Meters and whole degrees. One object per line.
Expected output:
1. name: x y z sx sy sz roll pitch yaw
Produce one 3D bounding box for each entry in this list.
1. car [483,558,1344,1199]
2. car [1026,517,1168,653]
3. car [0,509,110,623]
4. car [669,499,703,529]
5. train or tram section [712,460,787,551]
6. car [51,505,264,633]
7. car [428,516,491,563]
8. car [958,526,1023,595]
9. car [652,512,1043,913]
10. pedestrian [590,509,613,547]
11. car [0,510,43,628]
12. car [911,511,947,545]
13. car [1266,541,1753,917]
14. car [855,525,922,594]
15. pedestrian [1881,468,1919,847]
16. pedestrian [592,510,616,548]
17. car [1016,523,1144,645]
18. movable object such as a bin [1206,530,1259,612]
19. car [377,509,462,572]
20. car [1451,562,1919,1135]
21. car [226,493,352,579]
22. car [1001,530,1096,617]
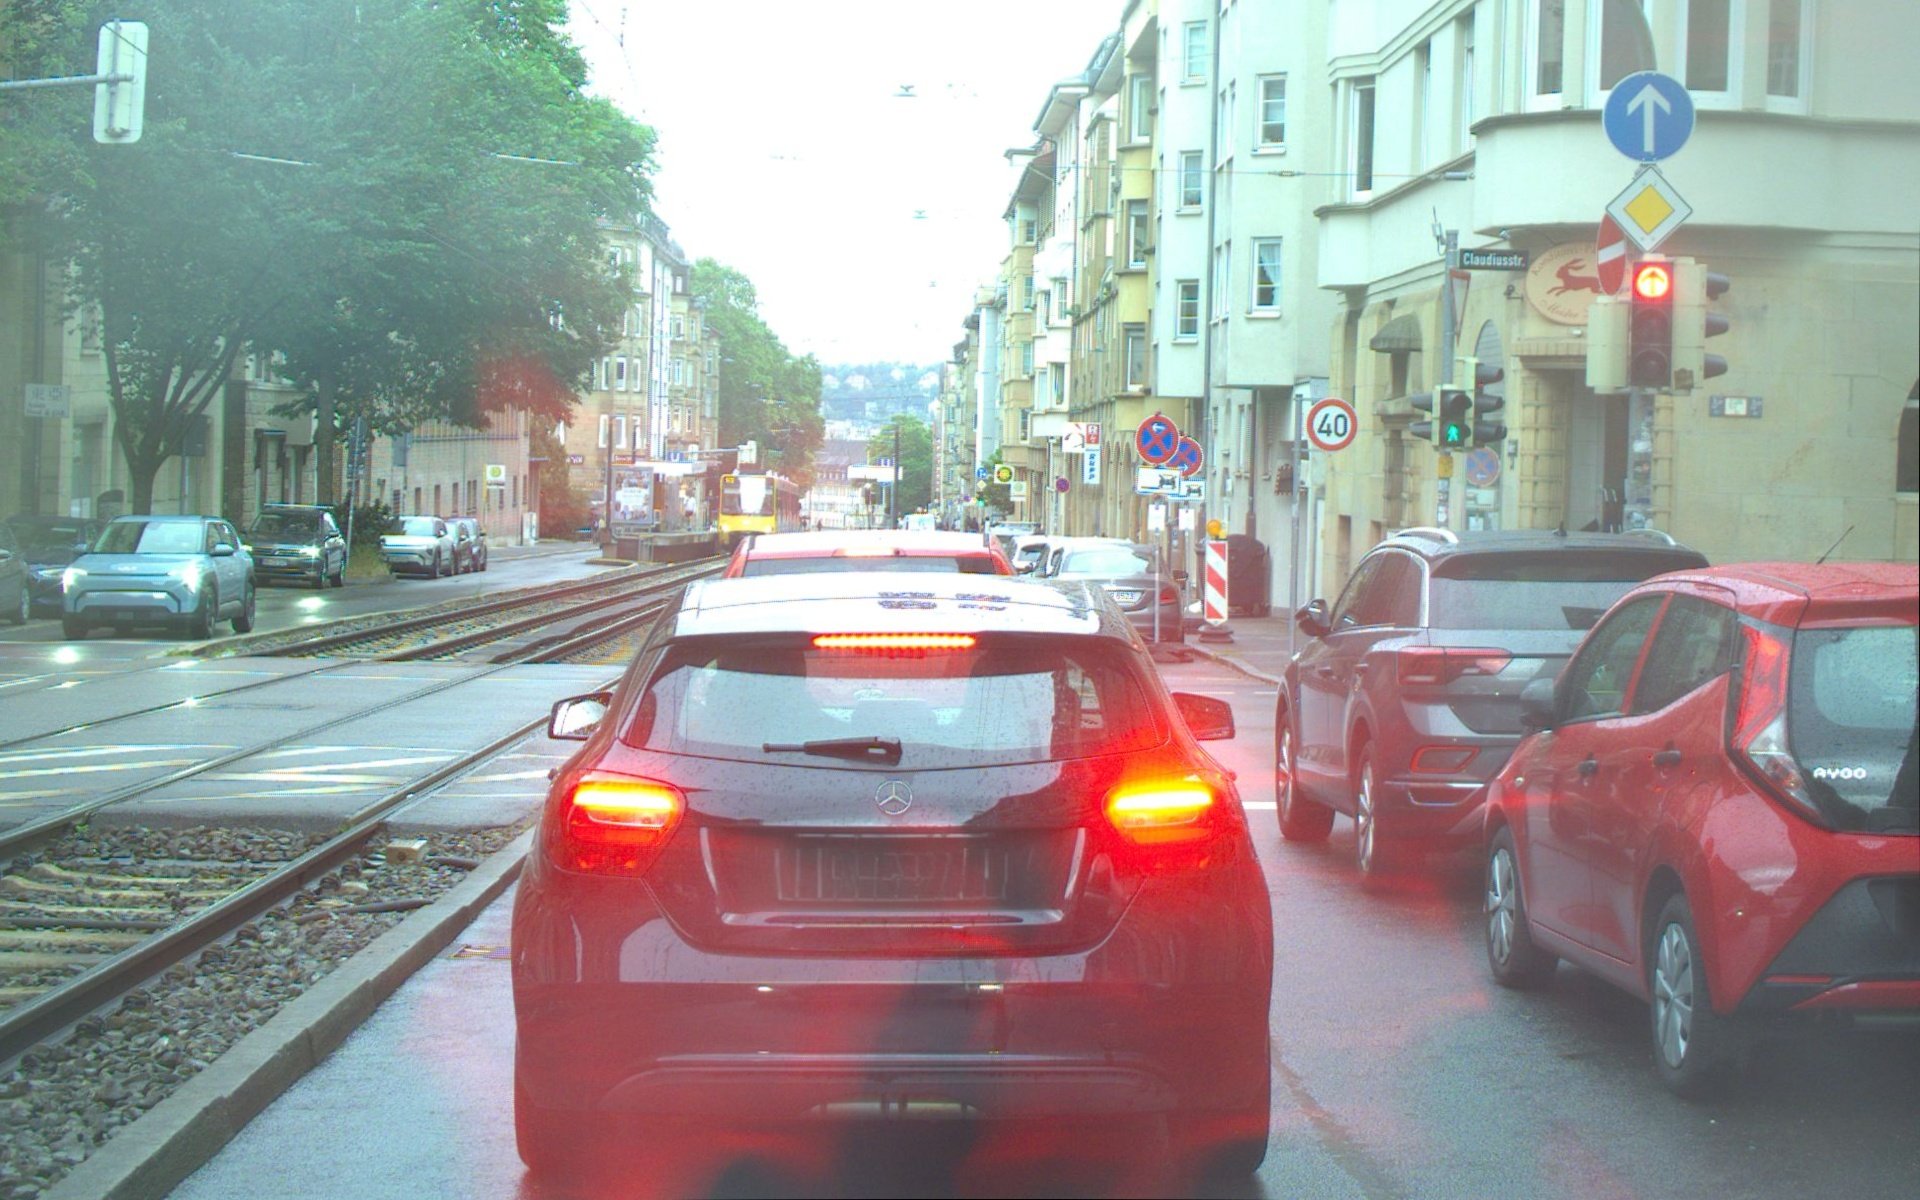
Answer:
1. car: -0.126 0.641 9.457 1.829 1.453 4.104 1 1 -1
2. car: 1.668 -0.208 42.640 1.544 1.585 3.548 1 1 -1
3. car: -13.736 -0.512 50.723 1.716 1.605 3.919 1 0 -5
4. car: -12.146 -3.807 152.530 1.377 1.245 3.298 1 0 -2
5. train or tram section: -9.325 -4.135 153.165 2.783 3.847 10.430 1 0 -1
6. car: -10.458 -0.408 45.079 1.898 1.582 3.973 1 0 -1
7. car: -14.337 -1.723 98.575 1.448 1.326 3.272 1 0 -2
8. car: 0.635 -0.856 73.594 1.294 1.437 2.929 1 1 -1
9. car: -0.479 0.439 15.844 1.565 1.604 3.814 1 0 -1
10. pedestrian: -18.905 -3.804 181.385 1.053 1.951 1.043 2 1 1
11. car: -13.483 -0.423 45.693 1.752 1.547 4.036 1 0 -4
12. car: -1.764 -4.067 195.317 1.993 1.870 4.000 1 0 -1
13. car: 2.386 0.490 15.763 1.544 1.481 3.830 1 1 -1
14. car: -1.735 -1.010 84.327 1.544 1.630 3.686 1 1 0
15. pedestrian: 4.796 0.267 15.904 0.741 1.742 1.111 1 0 -1
16. pedestrian: -18.894 -3.766 182.479 1.053 1.951 1.043 2 1 1
17. car: 1.612 -0.245 47.115 1.544 1.585 3.548 1 1 -1
18. movable object such as a bin: 4.712 -0.503 59.572 0.878 1.384 0.982 1 0 3
19. car: -13.994 -1.536 89.165 1.589 1.575 3.918 1 0 -1
20. car: 2.649 0.633 10.525 1.642 1.443 3.299 1 1 -3
21. car: -13.956 -1.318 71.702 1.875 1.731 3.918 1 0 -1
22. car: 1.554 -0.499 61.525 1.544 1.481 3.548 1 1 -1
